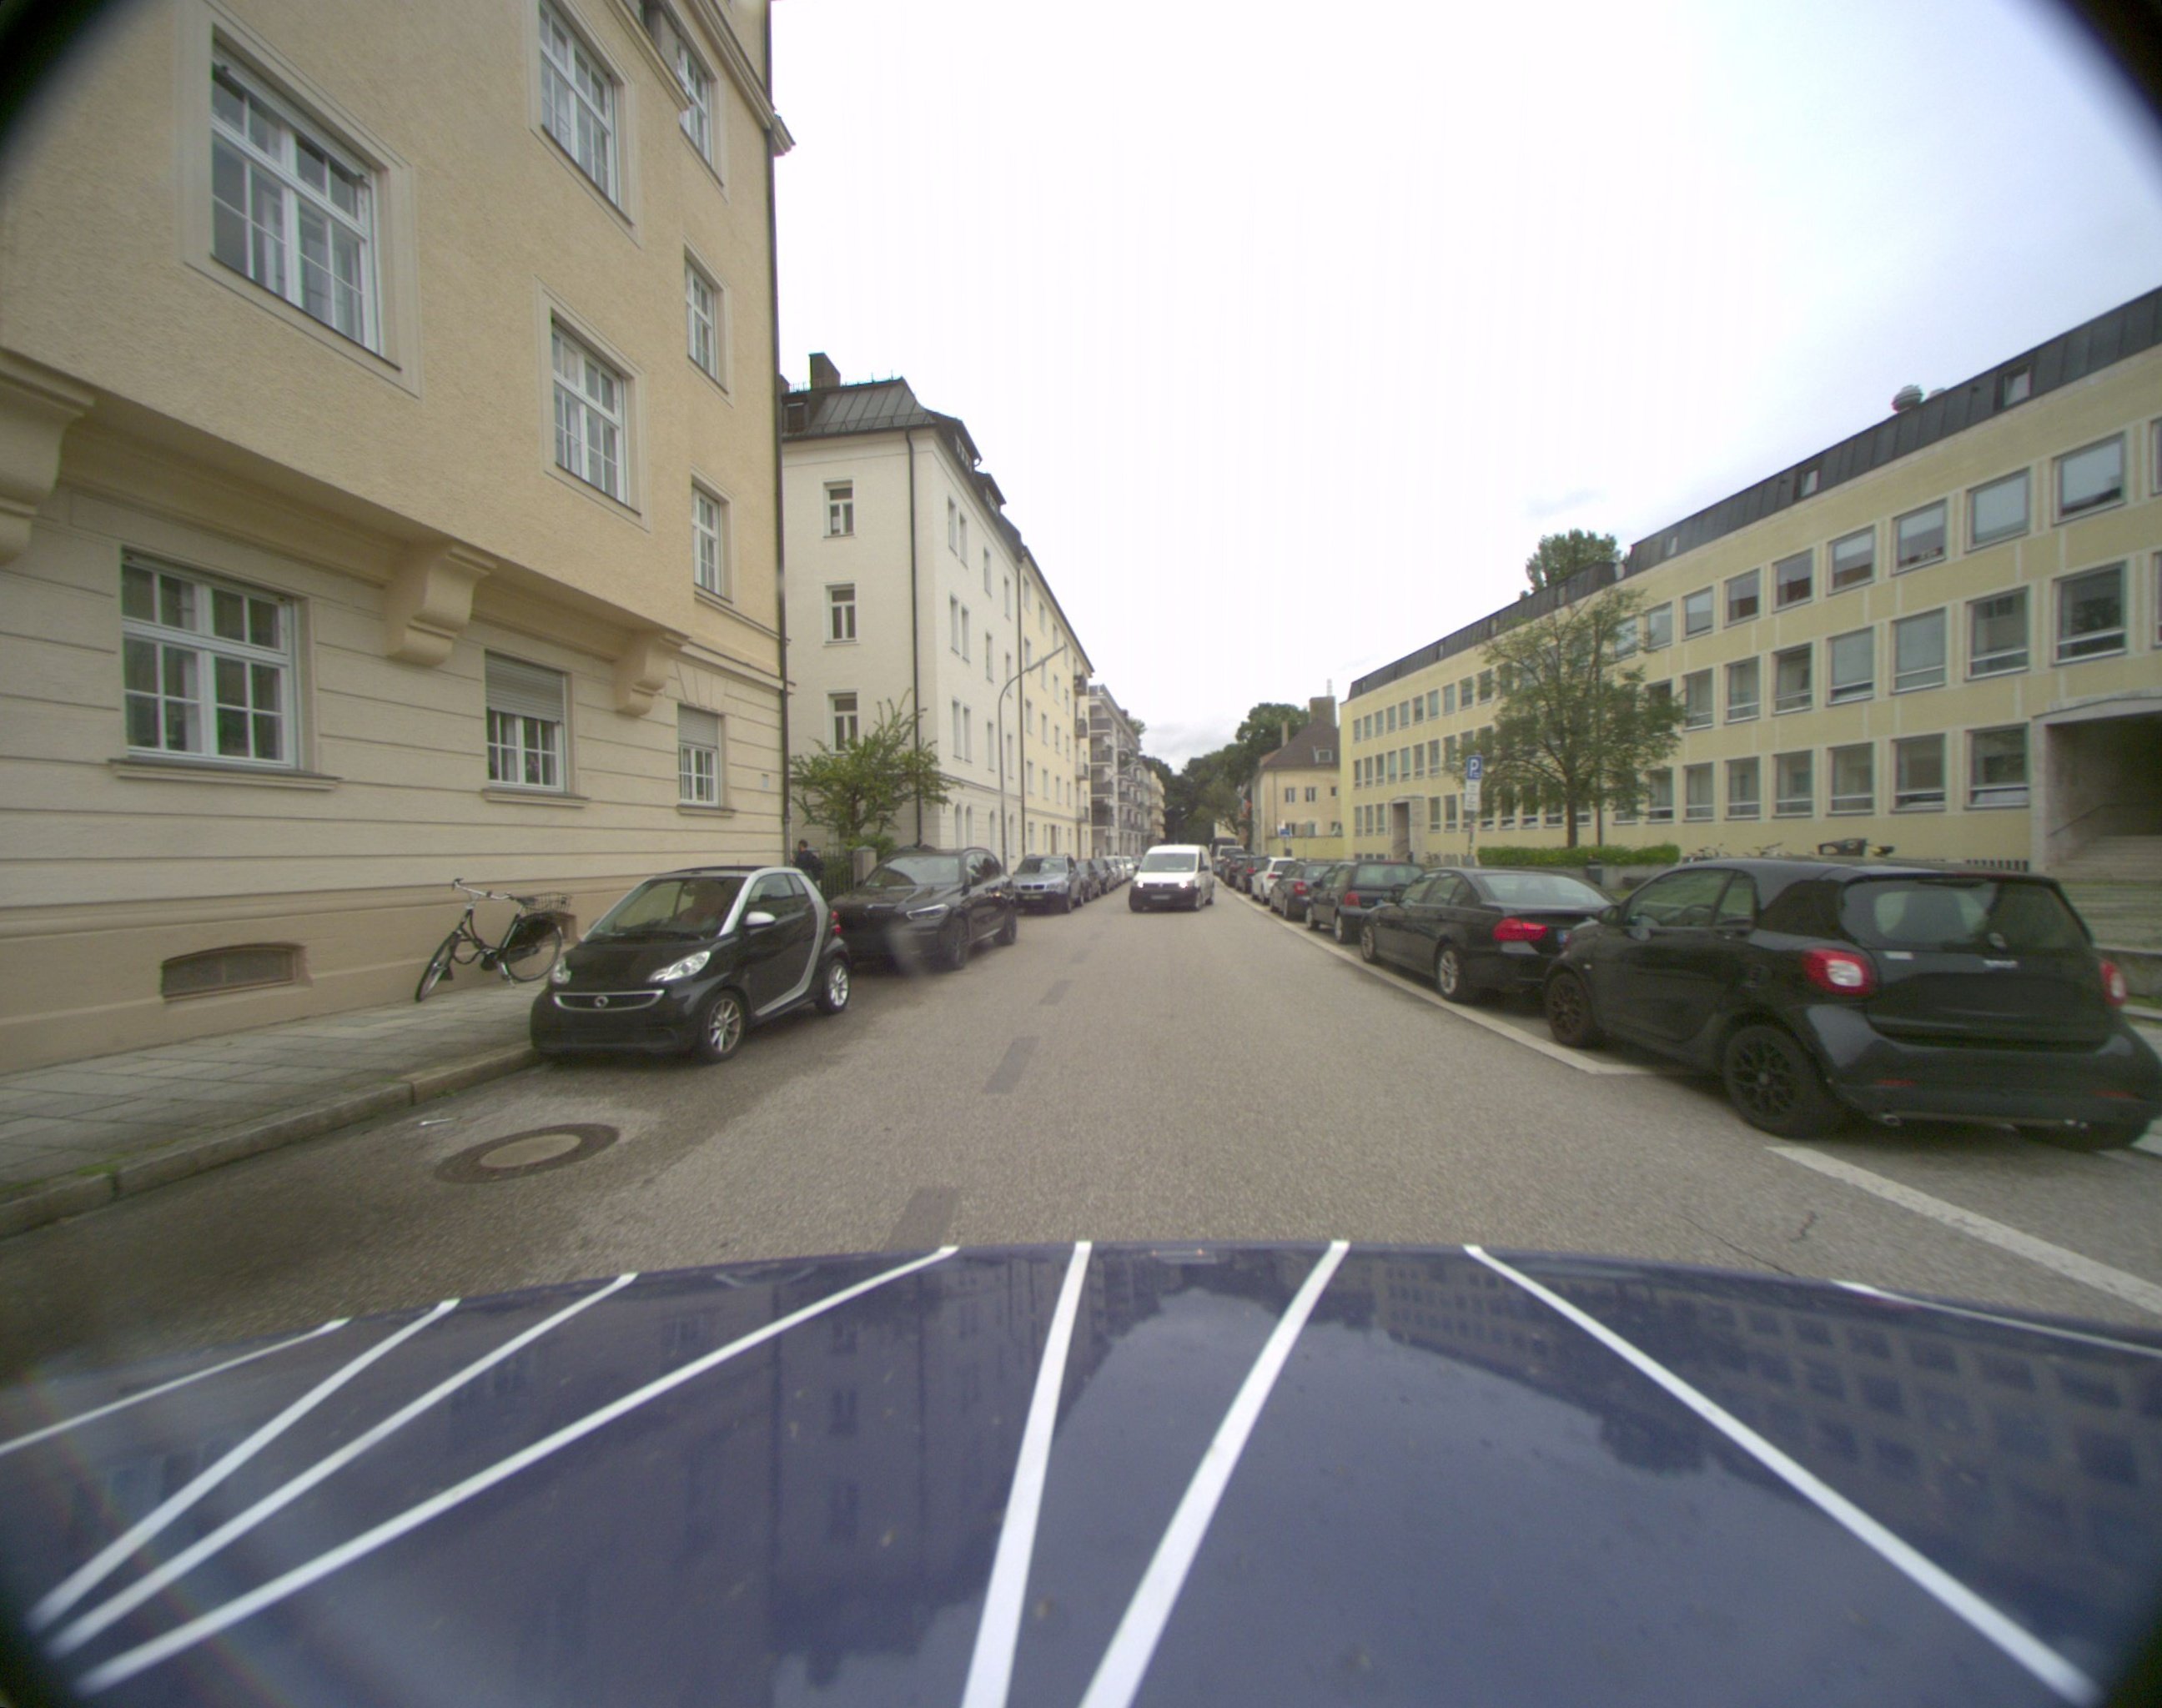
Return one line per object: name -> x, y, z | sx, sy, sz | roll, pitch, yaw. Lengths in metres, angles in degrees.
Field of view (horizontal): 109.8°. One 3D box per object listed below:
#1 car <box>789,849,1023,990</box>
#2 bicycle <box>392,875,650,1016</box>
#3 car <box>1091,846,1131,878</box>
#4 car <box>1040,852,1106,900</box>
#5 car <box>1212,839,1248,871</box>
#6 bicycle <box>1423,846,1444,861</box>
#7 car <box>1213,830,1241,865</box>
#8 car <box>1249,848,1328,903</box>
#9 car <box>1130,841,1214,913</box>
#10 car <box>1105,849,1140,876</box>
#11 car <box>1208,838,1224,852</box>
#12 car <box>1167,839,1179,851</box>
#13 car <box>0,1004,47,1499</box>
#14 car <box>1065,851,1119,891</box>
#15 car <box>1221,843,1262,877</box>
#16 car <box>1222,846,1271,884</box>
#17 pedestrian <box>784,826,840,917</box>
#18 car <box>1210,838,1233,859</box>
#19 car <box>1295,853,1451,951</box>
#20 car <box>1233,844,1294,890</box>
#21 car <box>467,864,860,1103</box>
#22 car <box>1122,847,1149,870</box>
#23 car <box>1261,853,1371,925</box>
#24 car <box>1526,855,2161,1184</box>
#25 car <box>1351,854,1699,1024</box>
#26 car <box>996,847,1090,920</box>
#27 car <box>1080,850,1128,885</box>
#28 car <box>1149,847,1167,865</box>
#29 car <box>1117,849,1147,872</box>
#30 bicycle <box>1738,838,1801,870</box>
car -> -2.436, 0.848, 12.018 | 1.931, 1.720, 4.690 | -3, 0, 8
bicycle -> -6.248, 0.944, 8.776 | 0.703, 1.239, 2.645 | -1, 1, 8
car -> 1.751, 0.411, 42.704 | 1.840, 1.538, 4.269 | -3, 1, 7
car -> -0.199, 0.746, 27.428 | 1.706, 1.434, 4.057 | -3, 1, 8
car -> 9.670, 0.029, 49.681 | 1.948, 1.965, 4.356 | 0, 2, 6
bicycle -> 22.250, -0.038, 47.950 | 1.243, 0.897, 0.288 | -3, 2, -6
car -> 12.022, -0.572, 62.651 | 1.997, 2.702, 4.961 | -1, 2, 8
car -> 6.395, 0.609, 23.828 | 1.725, 1.521, 4.001 | 0, 1, 6
car -> 2.732, 0.530, 21.686 | 1.882, 1.762, 4.928 | 0, 2, 13
car -> 2.627, 0.491, 47.196 | 1.840, 1.450, 4.024 | -3, 1, 7
car -> 20.823, -1.409, 117.238 | 2.213, 2.070, 4.961 | -3, 1, 8
car -> 14.296, -1.448, 118.203 | 1.638, 1.726, 3.881 | -3, 1, 8
car -> -4.052, 0.932, 0.334 | 1.840, 1.720, 3.731 | -3, 1, 8
car -> 0.554, 0.672, 32.657 | 1.801, 1.406, 4.530 | -3, 1, 7
car -> 8.404, 0.273, 40.101 | 1.743, 1.679, 4.124 | 0, 2, 7
car -> 7.452, 0.463, 34.498 | 1.744, 1.459, 3.687 | -3, 1, 7
pedestrian -> -5.378, 0.348, 15.182 | 0.683, 1.750, 0.694 | -2, 2, 39
car -> 15.711, -0.637, 85.265 | 2.213, 2.070, 4.961 | -3, 1, 8
car -> 5.148, 0.752, 13.919 | 1.725, 1.473, 3.755 | 0, 1, 6
car -> 7.118, 0.454, 29.931 | 1.744, 1.537, 4.083 | -3, 1, 6
car -> -3.394, 0.956, 6.789 | 1.510, 1.548, 2.864 | -3, 1, 10
car -> 4.201, 0.319, 58.307 | 1.741, 1.507, 4.024 | -3, 1, 7
car -> 5.559, 0.747, 18.461 | 1.725, 1.473, 4.205 | 0, 1, 6
car -> 4.569, 0.782, 5.024 | 1.670, 1.451, 2.868 | 1, 2, 4
car -> 4.645, 0.746, 8.805 | 1.725, 1.356, 4.212 | 1, 2, 3
car -> -0.976, 0.760, 21.995 | 1.781, 1.720, 4.391 | -3, 1, 8
car -> 1.200, 0.623, 37.494 | 1.840, 1.426, 4.655 | -3, 1, 7
car -> 8.192, 0.166, 80.799 | 1.638, 1.726, 3.881 | -3, 1, 8
car -> 3.536, 0.433, 52.302 | 1.741, 1.367, 4.024 | -3, 1, 7
bicycle -> 24.278, 0.002, 26.788 | 1.837, 1.023, 0.575 | -3, 2, -8
